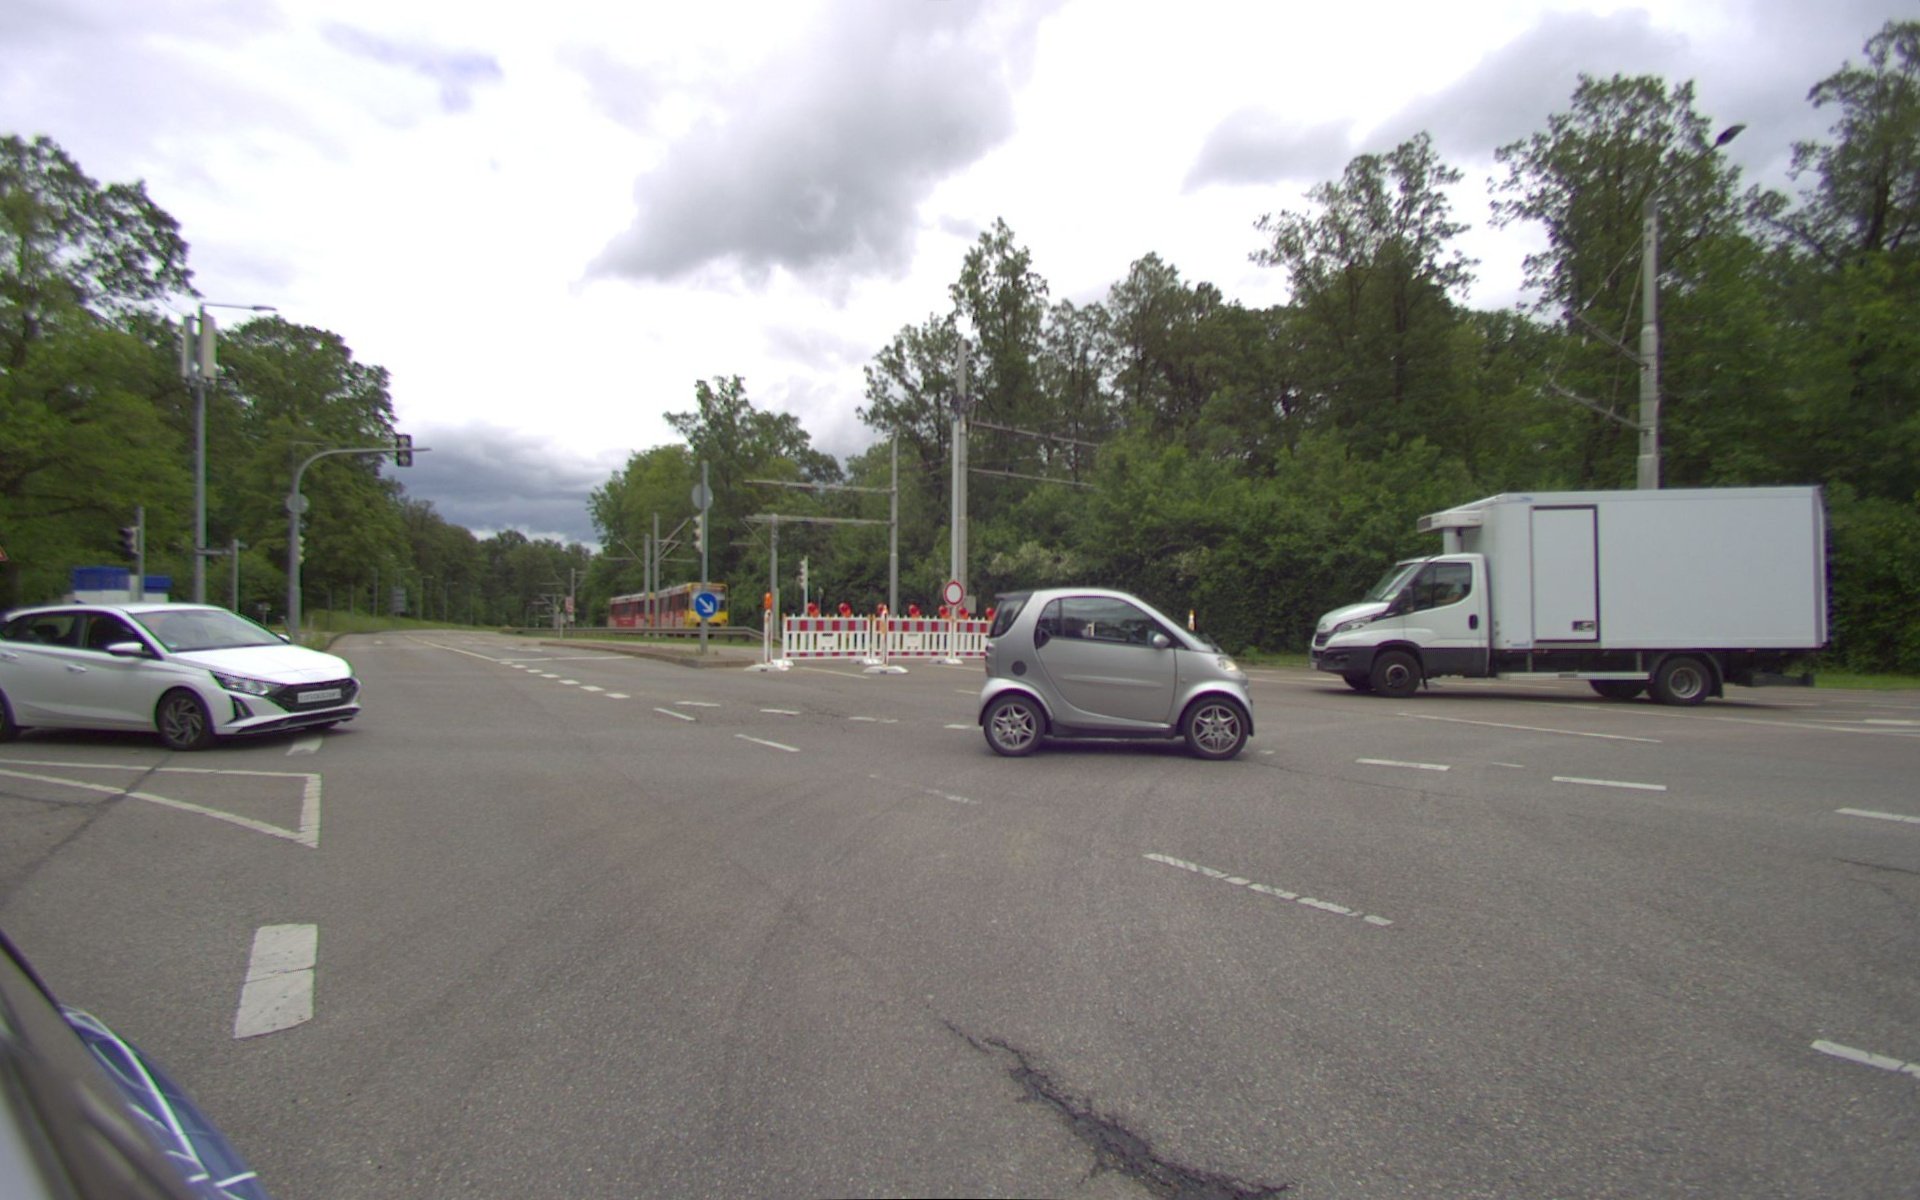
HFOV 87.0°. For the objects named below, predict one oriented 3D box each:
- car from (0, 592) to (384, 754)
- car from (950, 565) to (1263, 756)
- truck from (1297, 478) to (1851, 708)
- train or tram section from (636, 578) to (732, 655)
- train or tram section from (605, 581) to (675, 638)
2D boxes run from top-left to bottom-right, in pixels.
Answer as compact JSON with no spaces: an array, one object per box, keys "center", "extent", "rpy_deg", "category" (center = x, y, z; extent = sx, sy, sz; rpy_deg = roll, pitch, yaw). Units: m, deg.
[{"center":[-8.562,0.704,10.887],"extent":[4.031,1.490,1.648],"rpy_deg":[1,-2,13],"category":"car"},{"center":[1.364,0.526,9.612],"extent":[2.697,1.598,1.458],"rpy_deg":[1,-2,10],"category":"car"},{"center":[9.299,-0.126,16.070],"extent":[7.071,3.249,2.451],"rpy_deg":[1,-2,8],"category":"truck"},{"center":[-19.887,0.890,71.557],"extent":[2.905,4.685,18.608],"rpy_deg":[2,0,-26],"category":"train or tram section"},{"center":[-28.187,0.595,88.322],"extent":[2.914,4.451,18.792],"rpy_deg":[2,0,-26],"category":"train or tram section"}]
